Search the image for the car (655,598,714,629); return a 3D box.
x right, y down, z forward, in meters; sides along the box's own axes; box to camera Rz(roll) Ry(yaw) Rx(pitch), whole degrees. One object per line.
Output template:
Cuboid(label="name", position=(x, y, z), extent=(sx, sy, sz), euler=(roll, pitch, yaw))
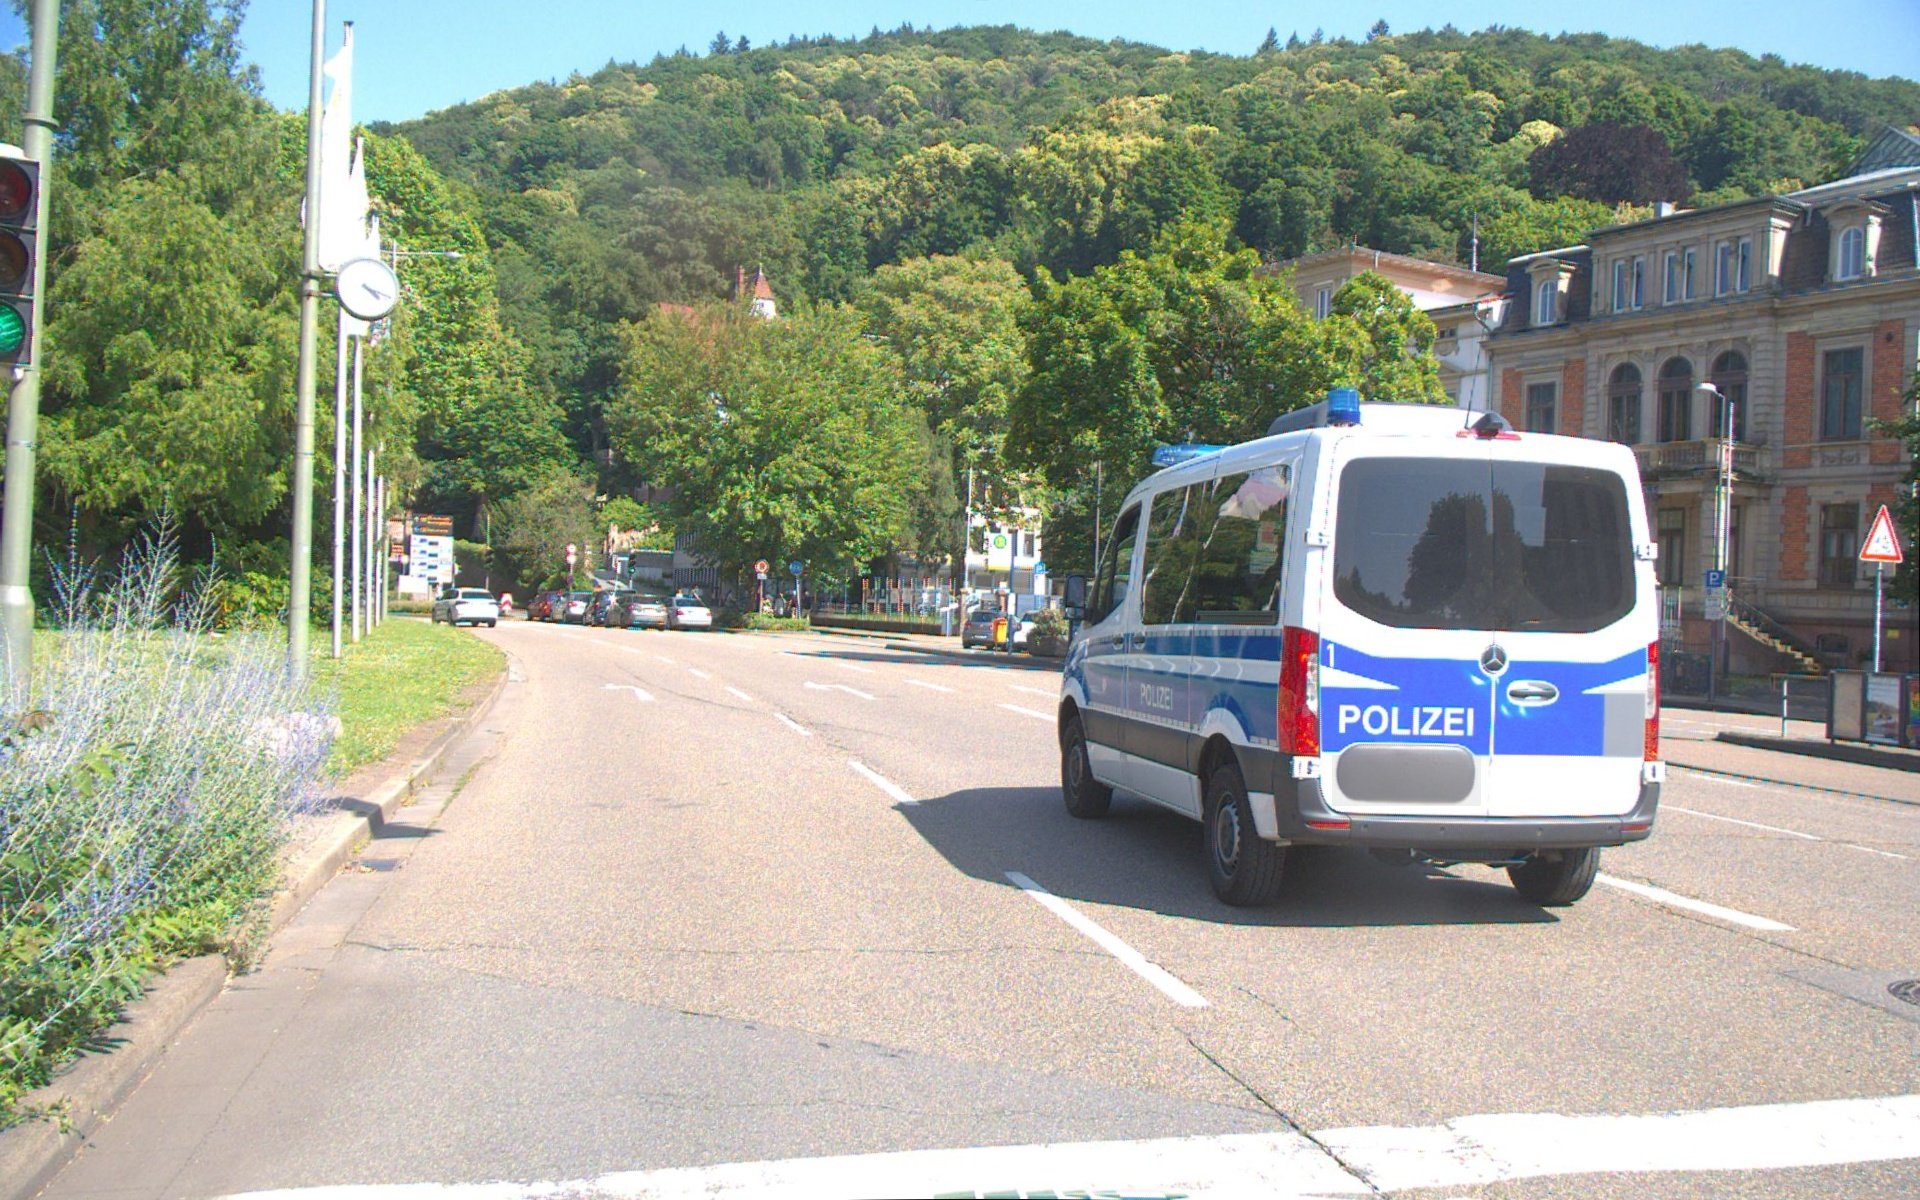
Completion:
Cuboid(label="car", position=(-12.008, 0.580, 71.943), extent=(1.732, 1.234, 3.469), euler=(2, 0, -23))

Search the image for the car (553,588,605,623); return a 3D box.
Cuboid(label="car", position=(-17.713, 0.237, 76.754), extent=(1.732, 1.486, 3.620), euler=(2, 0, -23))

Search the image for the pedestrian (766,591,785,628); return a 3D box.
Cuboid(label="pedestrian", position=(-9.595, 0.481, 85.989), extent=(0.760, 1.886, 0.824), euler=(2, 0, -21))

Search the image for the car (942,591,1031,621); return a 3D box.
Cuboid(label="car", position=(1.293, 0.296, 81.799), extent=(4.033, 1.359, 1.807), euler=(1, 0, -26))

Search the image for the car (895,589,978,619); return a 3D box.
Cuboid(label="car", position=(-1.256, 0.203, 88.631), extent=(4.095, 1.501, 1.861), euler=(1, 0, -28))

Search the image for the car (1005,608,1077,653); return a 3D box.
Cuboid(label="car", position=(3.002, 1.100, 60.484), extent=(1.672, 1.538, 3.813), euler=(2, 0, 17))

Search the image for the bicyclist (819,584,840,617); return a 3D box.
Cuboid(label="bicyclist", position=(-7.819, 0.040, 99.153), extent=(1.105, 1.966, 0.746), euler=(2, -1, -10))

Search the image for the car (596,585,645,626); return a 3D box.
Cuboid(label="car", position=(-17.399, 0.277, 84.688), extent=(1.732, 1.972, 3.469), euler=(2, 0, -23))

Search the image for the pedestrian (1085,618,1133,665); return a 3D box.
Cuboid(label="pedestrian", position=(3.997, 1.113, 44.383), extent=(1.013, 1.218, 0.779), euler=(2, 0, -44))

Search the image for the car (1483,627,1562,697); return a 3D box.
Cuboid(label="car", position=(14.144, 1.518, 41.508), extent=(1.708, 1.602, 3.877), euler=(2, 0, 21))

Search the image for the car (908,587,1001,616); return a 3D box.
Cuboid(label="car", position=(-0.283, 0.070, 83.868), extent=(4.410, 1.359, 1.807), euler=(1, 0, -26))

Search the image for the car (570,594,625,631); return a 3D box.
Cuboid(label="car", position=(-15.908, 0.532, 72.446), extent=(1.732, 1.486, 3.469), euler=(2, 0, -23))

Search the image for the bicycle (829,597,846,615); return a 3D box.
Cuboid(label="bicycle", position=(-7.754, 0.401, 104.777), extent=(0.529, 1.104, 1.824), euler=(1, 0, -21))

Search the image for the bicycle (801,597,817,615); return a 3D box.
Cuboid(label="bicycle", position=(-9.521, 0.365, 104.172), extent=(0.529, 1.104, 1.824), euler=(1, 0, -21))

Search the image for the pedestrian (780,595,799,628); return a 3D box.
Cuboid(label="pedestrian", position=(-8.910, 0.606, 86.546), extent=(0.760, 1.692, 0.824), euler=(2, 0, -21))

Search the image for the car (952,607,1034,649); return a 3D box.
Cuboid(label="car", position=(1.296, 1.050, 62.508), extent=(1.784, 1.487, 4.107), euler=(2, 0, 21))

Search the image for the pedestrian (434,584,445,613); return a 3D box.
Cuboid(label="pedestrian", position=(-30.451, -0.074, 96.692), extent=(0.537, 1.649, 0.632), euler=(1, 0, -14))

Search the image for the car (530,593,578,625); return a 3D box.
Cuboid(label="car", position=(-20.143, 0.438, 81.941), extent=(1.732, 1.486, 3.469), euler=(2, 0, -23))

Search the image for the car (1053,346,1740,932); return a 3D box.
Cuboid(label="car", position=(2.134, 0.214, 9.823), extent=(2.035, 2.552, 4.917), euler=(2, -1, -10))

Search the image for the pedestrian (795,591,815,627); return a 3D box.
Cuboid(label="pedestrian", position=(-8.128, 0.470, 86.809), extent=(0.761, 1.886, 0.823), euler=(2, 0, -24))

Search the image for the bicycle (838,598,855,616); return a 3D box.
Cuboid(label="bicycle", position=(-7.214, 0.412, 105.015), extent=(0.529, 1.104, 1.824), euler=(1, 0, -21))

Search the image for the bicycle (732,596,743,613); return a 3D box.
Cuboid(label="bicycle", position=(-14.470, 0.287, 107.662), extent=(0.399, 1.030, 1.332), euler=(1, 0, -22))

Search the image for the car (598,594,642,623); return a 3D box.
Cuboid(label="car", position=(-19.087, 0.465, 92.693), extent=(1.732, 1.486, 3.469), euler=(2, 0, -23))

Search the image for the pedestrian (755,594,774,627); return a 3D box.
Cuboid(label="pedestrian", position=(-10.273, 0.552, 86.835), extent=(0.760, 1.692, 0.824), euler=(2, 0, -22))

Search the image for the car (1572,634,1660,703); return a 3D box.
Cuboid(label="car", position=(15.337, 1.561, 38.607), extent=(1.709, 1.443, 3.698), euler=(2, 0, 24))

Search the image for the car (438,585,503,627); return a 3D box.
Cuboid(label="car", position=(-18.842, 0.230, 63.582), extent=(1.820, 1.486, 3.465), euler=(2, 0, -26))

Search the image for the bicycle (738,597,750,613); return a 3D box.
Cuboid(label="bicycle", position=(-13.806, 0.328, 105.730), extent=(0.399, 0.957, 1.332), euler=(1, 0, -22))

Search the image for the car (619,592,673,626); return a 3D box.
Cuboid(label="car", position=(-14.642, 0.399, 76.954), extent=(1.732, 1.486, 3.620), euler=(2, 0, -23))

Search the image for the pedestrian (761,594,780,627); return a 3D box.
Cuboid(label="pedestrian", position=(-10.076, 0.563, 87.938), extent=(0.760, 1.692, 0.824), euler=(2, 0, -22))

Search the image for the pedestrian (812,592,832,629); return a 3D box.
Cuboid(label="pedestrian", position=(-7.245, 0.540, 87.077), extent=(0.761, 1.886, 0.823), euler=(2, 0, -24))

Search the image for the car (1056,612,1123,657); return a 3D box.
Cuboid(label="car", position=(4.576, 1.190, 57.963), extent=(1.672, 1.467, 3.814), euler=(2, 0, 14))

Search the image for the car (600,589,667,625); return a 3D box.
Cuboid(label="car", position=(-13.227, 0.265, 66.821), extent=(1.734, 1.357, 3.770), euler=(2, 0, -26))

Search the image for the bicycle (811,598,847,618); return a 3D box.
Cuboid(label="bicycle", position=(-7.835, 0.454, 99.156), extent=(2.039, 1.132, 0.755), euler=(2, 0, -11))
